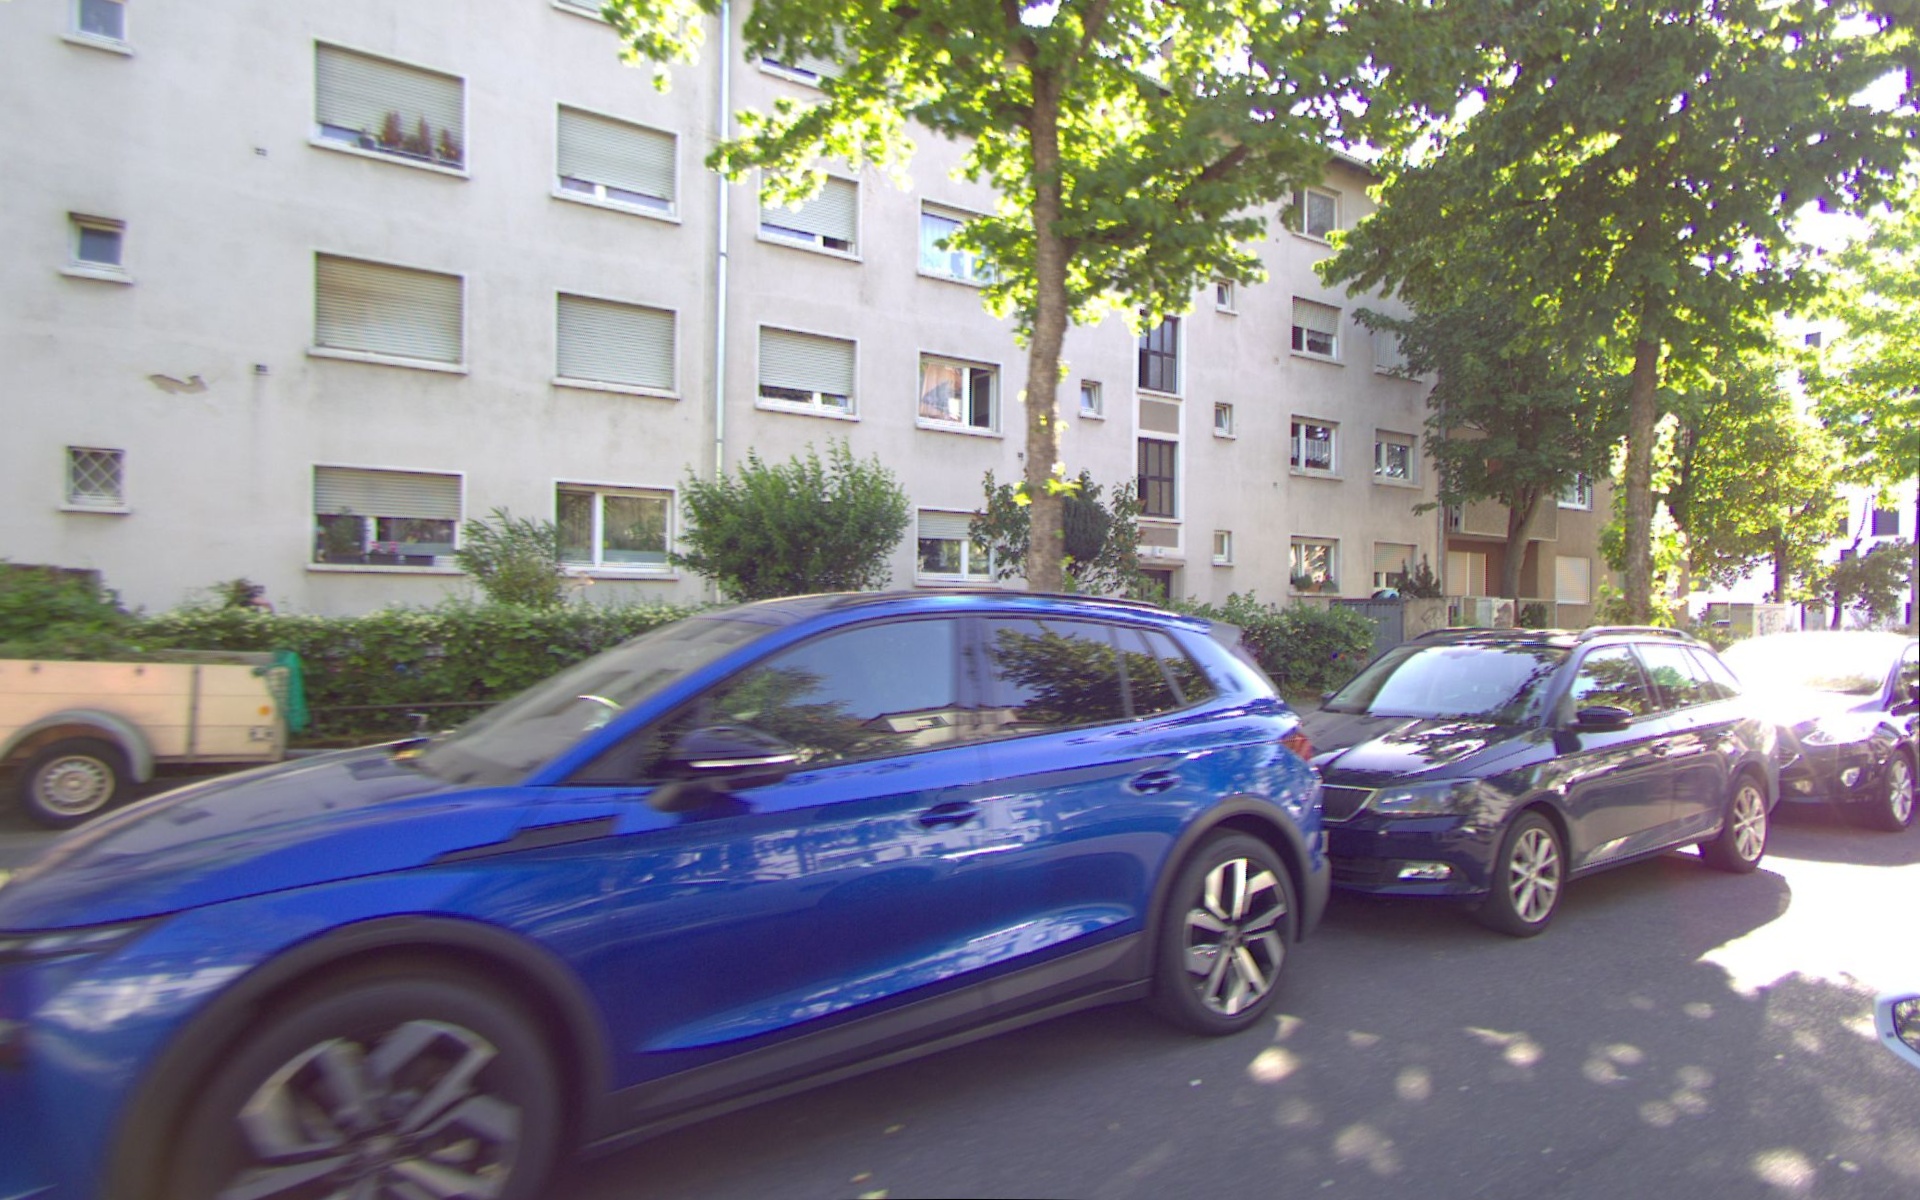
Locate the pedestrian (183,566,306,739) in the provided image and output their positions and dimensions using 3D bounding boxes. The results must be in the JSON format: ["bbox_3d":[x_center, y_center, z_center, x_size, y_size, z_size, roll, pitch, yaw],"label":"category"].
[{"bbox_3d":[-8.305,0.600,11.695,0.862,1.939,0.783,0,-1,-5],"label":"pedestrian"}]

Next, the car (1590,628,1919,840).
[{"bbox_3d":[7.391,0.983,8.732,3.866,1.462,1.752,1,-2,-33],"label":"car"}]

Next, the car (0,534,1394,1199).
[{"bbox_3d":[-0.531,0.754,3.622,4.421,1.587,1.778,1,-3,-35],"label":"car"}]

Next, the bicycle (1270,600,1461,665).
[{"bbox_3d":[7.490,0.592,18.698,3.172,1.151,0.916,0,0,3],"label":"bicycle"}]

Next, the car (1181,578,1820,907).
[{"bbox_3d":[3.525,0.688,6.378,4.076,1.472,1.820,1,-2,-32],"label":"car"}]

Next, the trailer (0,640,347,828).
[{"bbox_3d":[-6.075,0.828,6.754,3.242,1.047,1.781,1,0,-30],"label":"trailer"}]

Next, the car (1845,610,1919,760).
[{"bbox_3d":[12.266,0.947,11.737,4.186,1.617,1.801,1,-1,-32],"label":"car"}]
